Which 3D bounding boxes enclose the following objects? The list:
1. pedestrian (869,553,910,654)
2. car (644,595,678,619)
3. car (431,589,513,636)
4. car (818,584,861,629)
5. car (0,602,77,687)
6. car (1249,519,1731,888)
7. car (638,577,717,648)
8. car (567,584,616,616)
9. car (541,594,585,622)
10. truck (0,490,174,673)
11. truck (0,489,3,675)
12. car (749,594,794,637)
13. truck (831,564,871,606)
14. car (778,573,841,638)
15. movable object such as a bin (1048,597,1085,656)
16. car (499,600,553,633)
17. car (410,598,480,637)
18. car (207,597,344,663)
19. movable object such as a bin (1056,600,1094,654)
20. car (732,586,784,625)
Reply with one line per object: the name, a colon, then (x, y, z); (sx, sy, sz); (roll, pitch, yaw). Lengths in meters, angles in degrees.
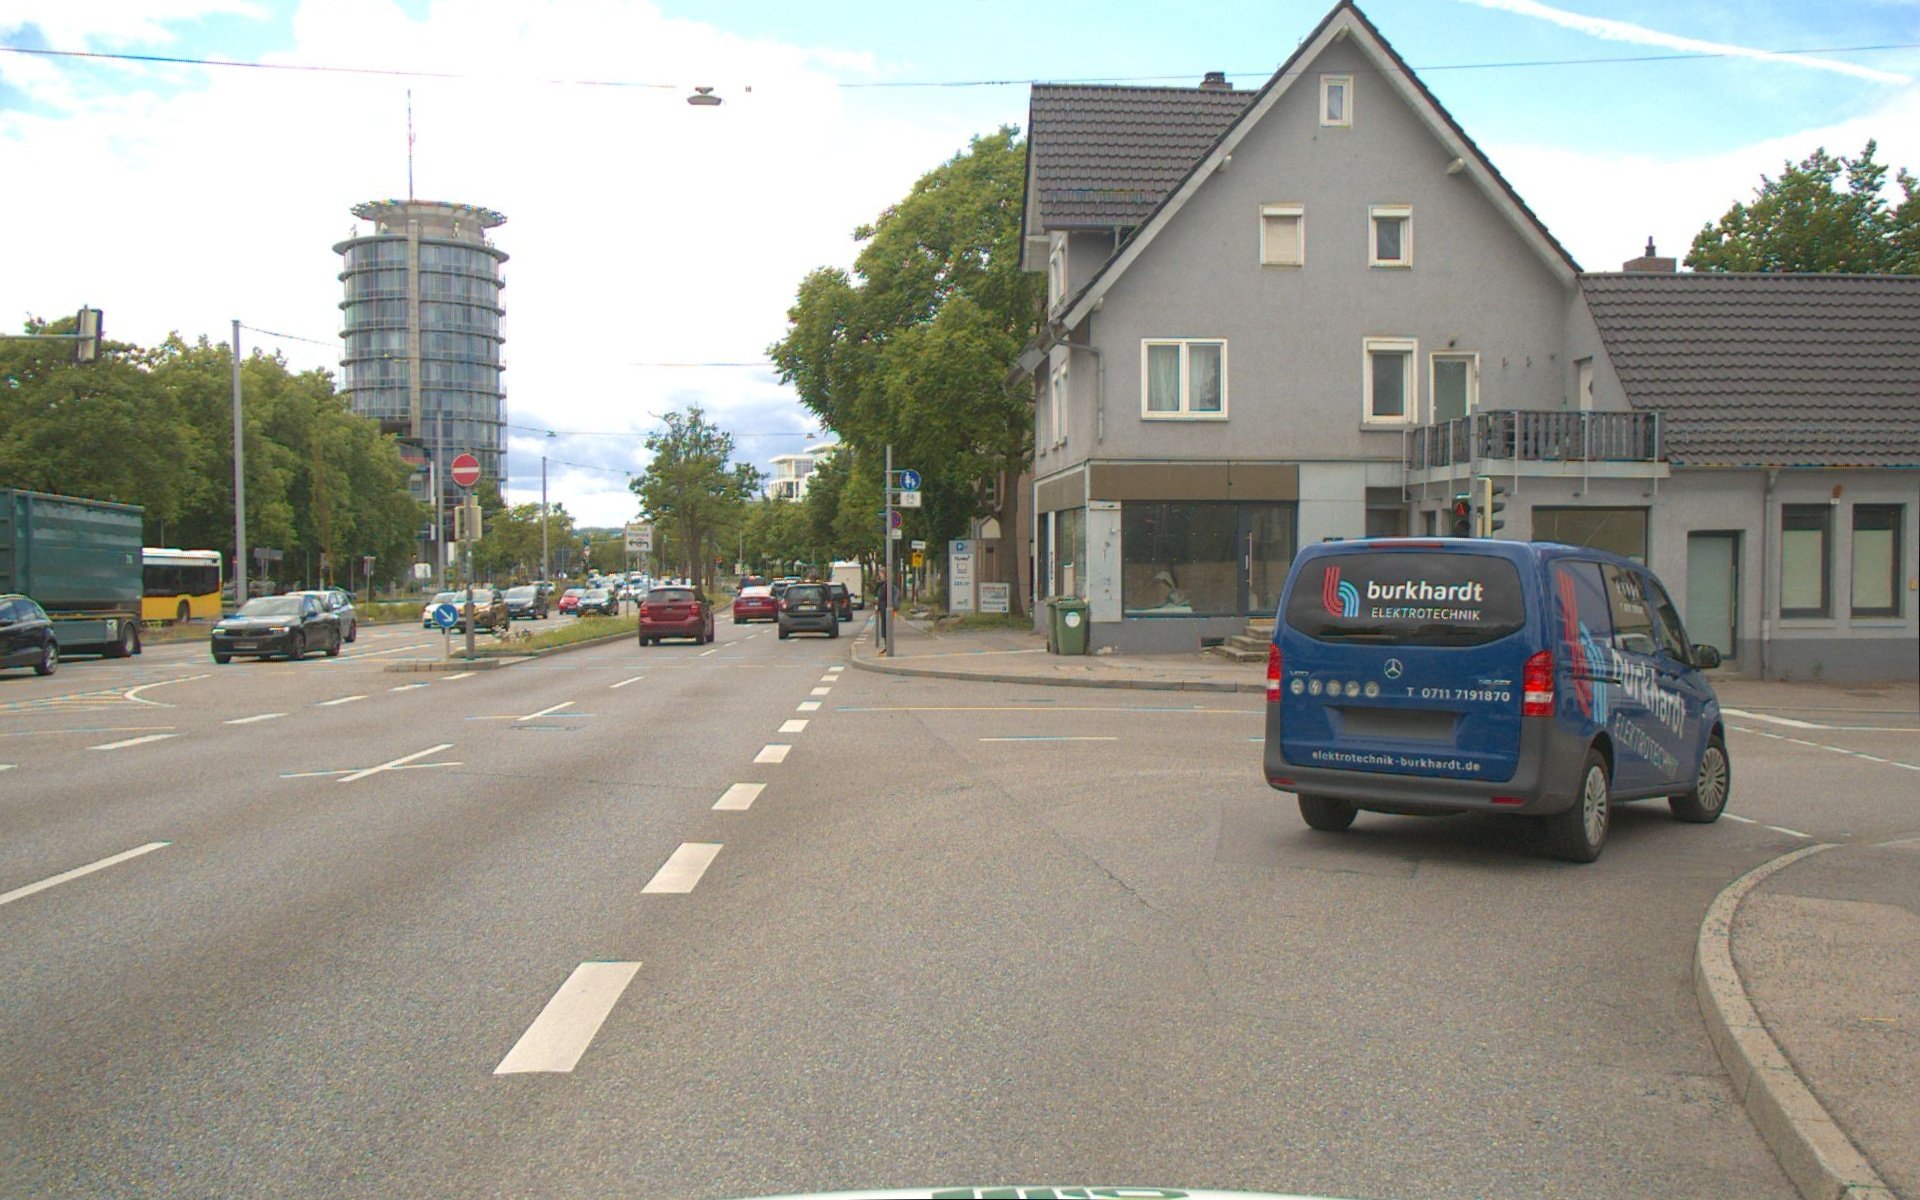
pedestrian: (-1.451, 0.076, 33.999); (0.755, 2.049, 0.877); (0, 0, 2)
car: (-20.701, 0.493, 114.475); (1.955, 1.601, 3.995); (-1, 0, -6)
car: (-16.907, 0.425, 57.463); (1.955, 1.542, 3.996); (-1, 0, -5)
car: (-4.902, 0.241, 67.307); (1.712, 1.753, 3.997); (-1, 0, -4)
car: (-17.437, 0.785, 29.253); (1.762, 1.442, 3.995); (-1, 0, -5)
car: (3.841, 0.566, 11.395); (1.915, 2.000, 4.525); (0, 0, 35)
car: (-7.376, 0.298, 43.429); (1.712, 1.753, 3.996); (-1, 0, -5)
car: (-19.276, -0.001, 86.584); (1.954, 1.601, 3.996); (-1, 0, -5)
car: (-23.467, 0.443, 97.901); (1.955, 1.601, 3.995); (-1, 0, -6)
truck: (-21.586, -0.359, 38.336); (3.301, 3.792, 8.020); (-1, 0, -4)
truck: (-20.514, -0.376, 27.751); (3.303, 3.792, 11.266); (1, 0, -6)
car: (-9.605, 0.769, 83.862); (1.958, 2.048, 3.990); (1, 1, -11)
truck: (-6.075, -0.807, 92.590); (1.953, 2.203, 5.557); (2, 0, -2)
car: (-4.293, 0.131, 47.327); (1.712, 1.753, 3.996); (-1, 0, -5)
movable object such as a bin: (2.058, 0.499, 31.921); (0.586, 1.120, 0.572); (0, 0, -10)
car: (-21.897, 0.793, 83.642); (1.954, 1.601, 3.996); (-1, 0, -5)
car: (-21.610, 0.711, 69.594); (1.954, 1.601, 3.996); (-1, 0, -5)
car: (-15.116, 0.623, 36.745); (1.958, 1.355, 4.433); (-1, 0, -11)
movable object such as a bin: (2.179, 0.502, 31.329); (0.586, 1.004, 0.572); (0, 0, -10)
car: (-8.278, 0.188, 67.467); (1.835, 1.512, 3.989); (0, 1, -11)
